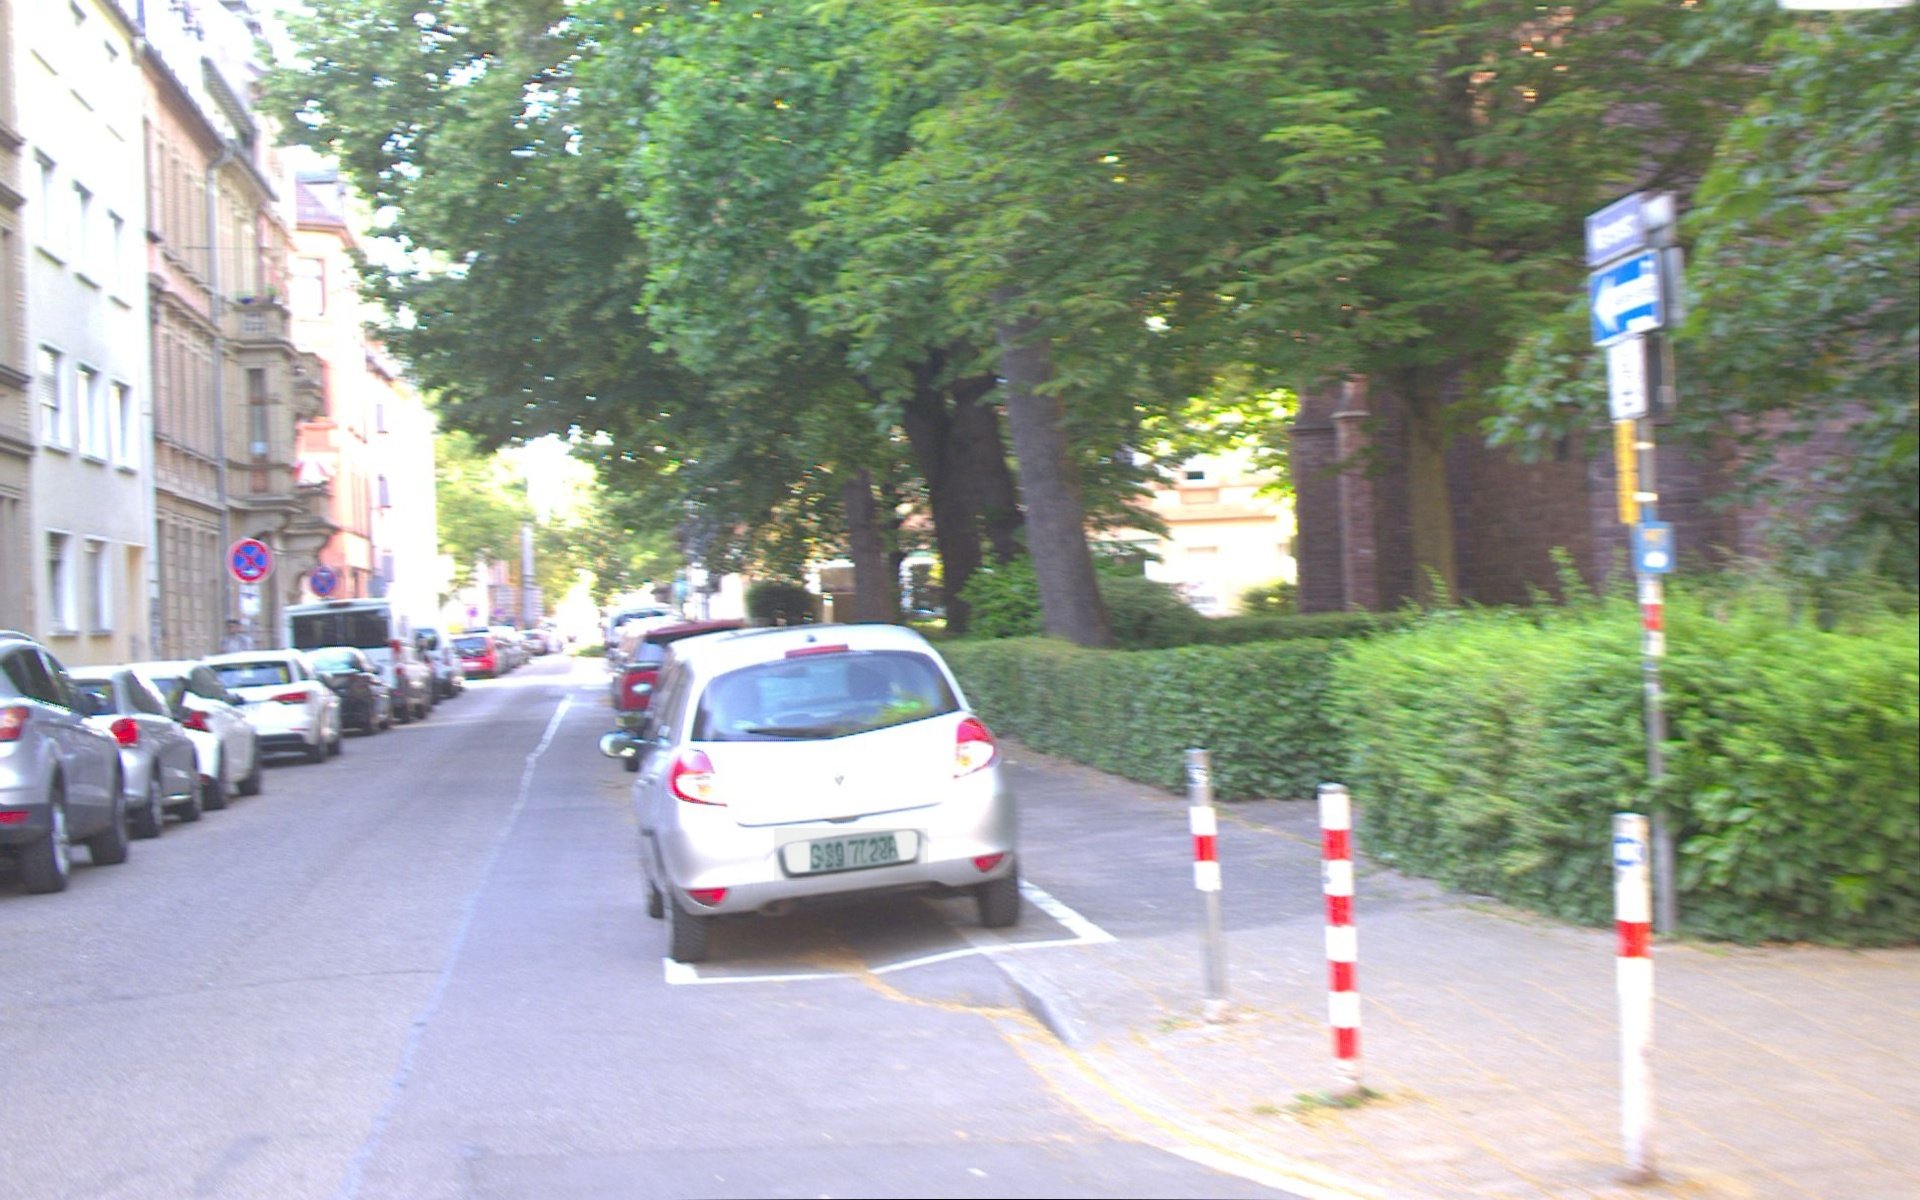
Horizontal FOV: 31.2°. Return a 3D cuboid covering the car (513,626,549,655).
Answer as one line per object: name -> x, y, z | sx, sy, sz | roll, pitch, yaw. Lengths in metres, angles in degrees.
car -> -25.871, 2.440, 207.400 | 1.993, 1.642, 4.000 | -3, 0, -6

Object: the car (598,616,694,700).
car -> -6.422, 1.169, 70.010 | 1.792, 1.569, 4.001 | -3, 0, -7

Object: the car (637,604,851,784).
car -> -2.186, 0.875, 33.819 | 1.841, 1.590, 4.001 | -2, 0, -6

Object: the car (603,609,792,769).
car -> -2.997, 0.974, 38.595 | 1.894, 1.620, 4.001 | -2, 0, -7

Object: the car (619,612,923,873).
car -> -1.351, 0.893, 23.014 | 1.722, 1.517, 4.001 | -3, 0, -7

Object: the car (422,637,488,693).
car -> -16.249, 2.085, 110.750 | 1.949, 1.703, 4.001 | -3, 0, -7

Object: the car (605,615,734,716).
car -> -4.995, 1.099, 58.673 | 1.993, 1.569, 4.001 | -3, 0, -7

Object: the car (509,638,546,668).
car -> -25.007, 3.070, 198.859 | 1.993, 1.642, 4.000 | -3, 0, -6

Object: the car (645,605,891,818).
car -> -1.666, 0.890, 28.653 | 1.741, 1.569, 4.001 | -3, 0, -7

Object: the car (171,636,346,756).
car -> -8.852, 1.184, 43.632 | 1.771, 1.349, 4.001 | -2, 0, -6

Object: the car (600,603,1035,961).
car -> -0.844, 0.821, 17.505 | 1.723, 1.517, 4.001 | -3, 0, -8

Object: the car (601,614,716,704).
car -> -5.793, 1.115, 65.694 | 1.993, 1.569, 4.001 | -3, 0, -7

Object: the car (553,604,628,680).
car -> -8.653, 0.962, 80.381 | 1.688, 1.722, 4.001 | 0, 0, -7

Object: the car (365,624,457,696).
car -> -12.967, 1.411, 81.372 | 1.902, 1.569, 4.001 | -3, 0, -7

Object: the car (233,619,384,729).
car -> -10.174, 1.141, 53.915 | 1.993, 1.569, 4.001 | -3, 0, -7

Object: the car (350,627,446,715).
car -> -12.002, 1.491, 73.589 | 1.792, 1.568, 4.001 | -3, 3, -7

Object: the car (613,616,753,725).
car -> -4.411, 1.096, 54.199 | 1.993, 1.569, 4.001 | -3, 0, -7

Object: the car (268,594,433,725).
car -> -10.723, 1.036, 60.850 | 2.309, 2.107, 5.170 | -3, 0, -5

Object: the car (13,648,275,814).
car -> -7.988, 1.247, 33.981 | 1.881, 1.406, 4.000 | -4, 0, -5

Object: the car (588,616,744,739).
car -> -4.178, 1.069, 48.403 | 1.993, 1.569, 4.001 | -3, 0, -7

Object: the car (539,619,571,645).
car -> -27.050, 2.121, 229.700 | 1.993, 1.642, 4.000 | -3, 0, -6

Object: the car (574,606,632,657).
car -> -13.069, 1.149, 125.905 | 1.993, 1.722, 4.001 | -3, 0, -6

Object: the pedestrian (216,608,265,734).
pedestrian -> -11.781, 1.159, 56.279 | 0.684, 2.007, 0.692 | -2, -1, -13

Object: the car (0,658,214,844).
car -> -7.528, 1.252, 29.489 | 1.725, 1.388, 4.001 | -3, 0, -6

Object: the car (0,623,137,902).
car -> -6.827, 1.076, 23.046 | 1.881, 1.701, 4.000 | -4, 0, -5

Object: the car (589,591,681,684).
car -> -8.392, 0.968, 88.425 | 2.160, 2.248, 4.526 | -3, 0, -7
